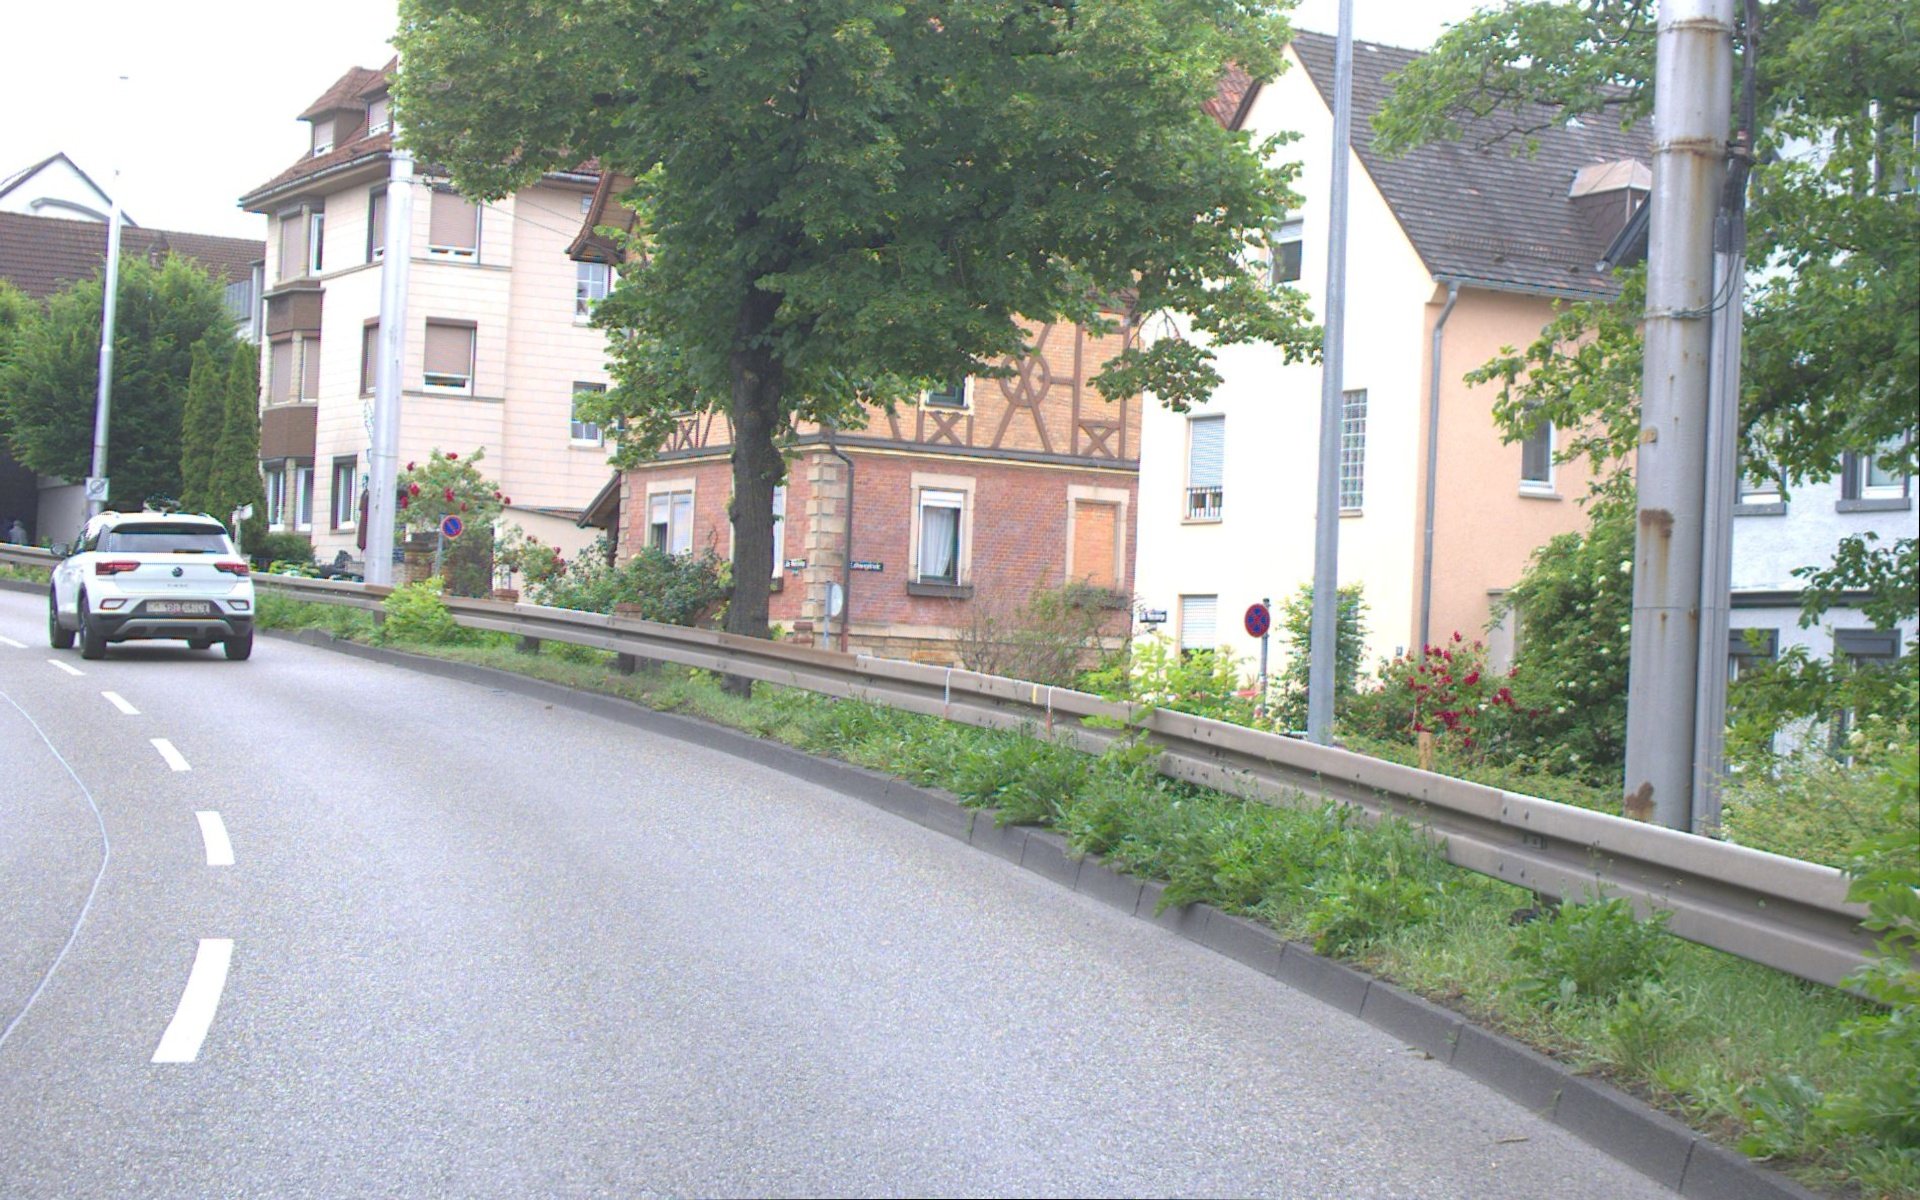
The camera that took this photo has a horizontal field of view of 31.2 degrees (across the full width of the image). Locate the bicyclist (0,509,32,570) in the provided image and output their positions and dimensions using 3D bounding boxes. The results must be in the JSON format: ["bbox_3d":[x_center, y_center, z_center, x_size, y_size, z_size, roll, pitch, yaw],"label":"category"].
[{"bbox_3d":[-24.038,-1.550,87.505,0.566,1.519,0.959,0,3,-29],"label":"bicyclist"}]

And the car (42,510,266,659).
[{"bbox_3d":[-8.794,-0.195,37.326,1.796,1.513,3.457,0,1,-23],"label":"car"}]

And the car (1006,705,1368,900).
[{"bbox_3d":[2.444,2.204,38.055,1.782,1.664,4.203,4,1,-31],"label":"car"}]

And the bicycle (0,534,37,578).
[{"bbox_3d":[-24.093,-1.126,87.702,0.566,1.059,2.006,0,3,-29],"label":"bicycle"}]
